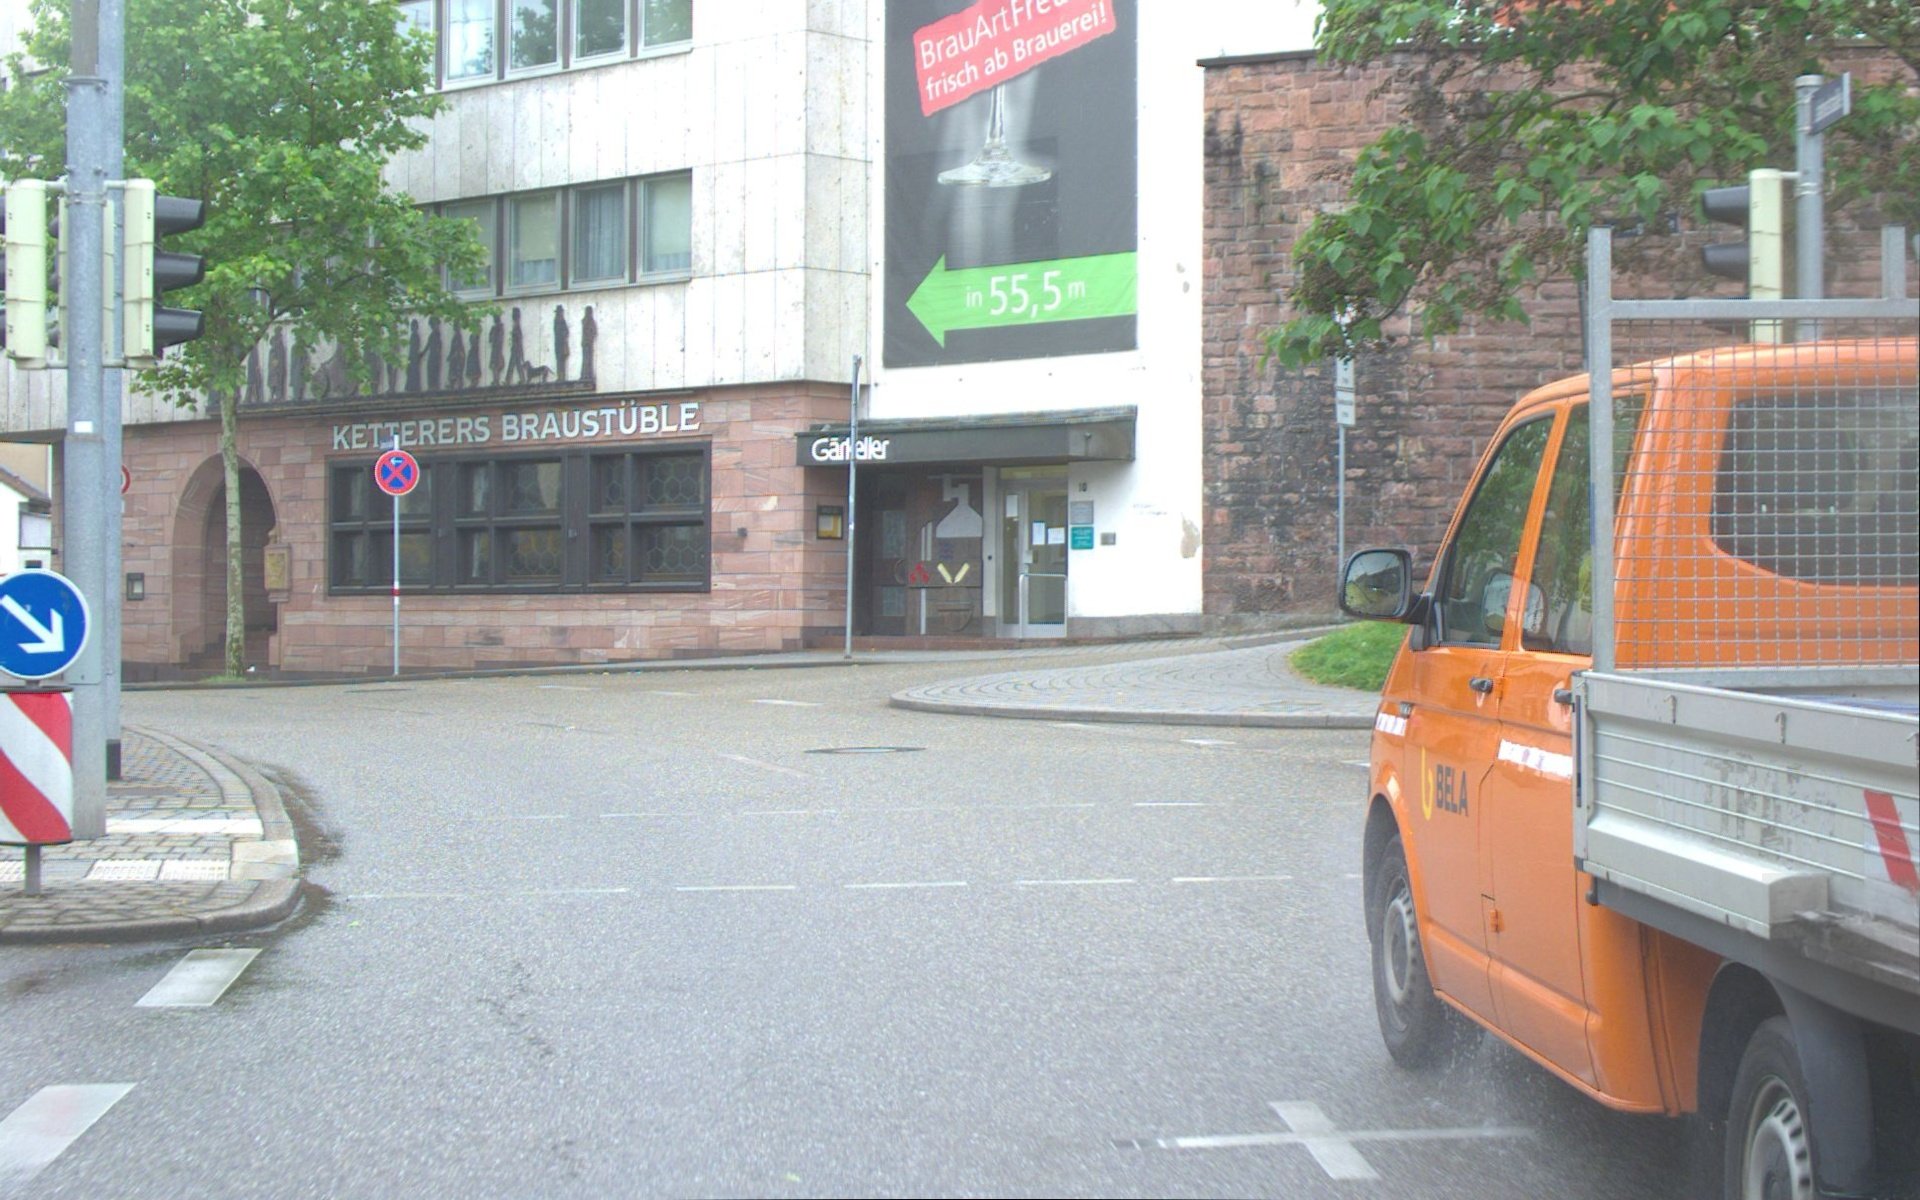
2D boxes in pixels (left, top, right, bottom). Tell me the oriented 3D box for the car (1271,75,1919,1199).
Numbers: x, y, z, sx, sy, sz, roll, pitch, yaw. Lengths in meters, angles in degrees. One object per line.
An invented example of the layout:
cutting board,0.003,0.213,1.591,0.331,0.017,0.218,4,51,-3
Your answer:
car,2.198,0.356,7.650,2.101,2.082,5.542,2,-1,-4

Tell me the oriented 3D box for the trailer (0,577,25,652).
trailer,-36.251,0.554,127.883,2.126,2.707,5.392,-2,0,-22
